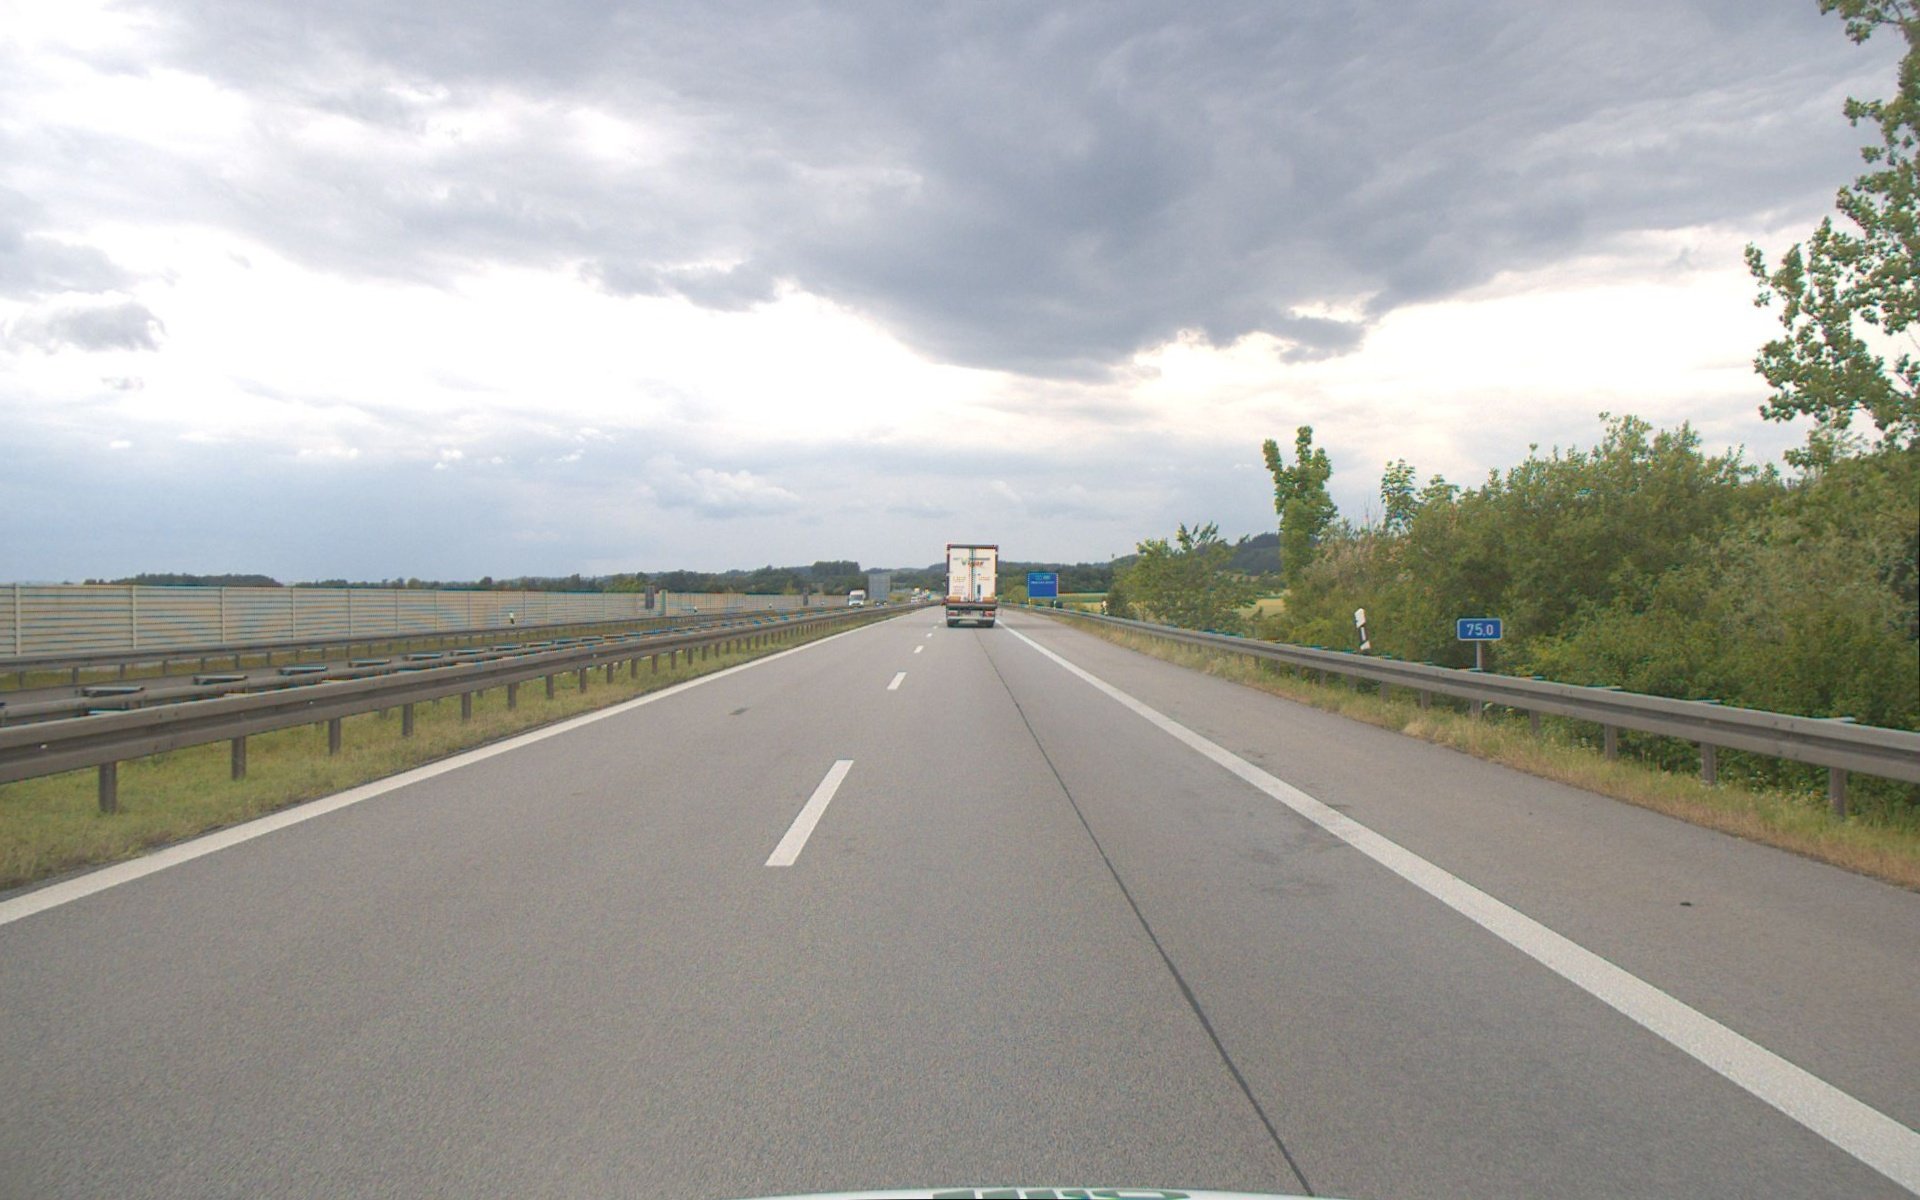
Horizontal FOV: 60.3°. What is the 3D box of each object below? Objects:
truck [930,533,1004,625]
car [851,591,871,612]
[{"bbox_3d":[0.222,-1.067,89.488,3.598,4.489,16.337,0,0,-1],"label":"truck"},{"bbox_3d":[-12.663,0.206,212.205,2.028,2.648,6.288,-3,0,0],"label":"car"}]
